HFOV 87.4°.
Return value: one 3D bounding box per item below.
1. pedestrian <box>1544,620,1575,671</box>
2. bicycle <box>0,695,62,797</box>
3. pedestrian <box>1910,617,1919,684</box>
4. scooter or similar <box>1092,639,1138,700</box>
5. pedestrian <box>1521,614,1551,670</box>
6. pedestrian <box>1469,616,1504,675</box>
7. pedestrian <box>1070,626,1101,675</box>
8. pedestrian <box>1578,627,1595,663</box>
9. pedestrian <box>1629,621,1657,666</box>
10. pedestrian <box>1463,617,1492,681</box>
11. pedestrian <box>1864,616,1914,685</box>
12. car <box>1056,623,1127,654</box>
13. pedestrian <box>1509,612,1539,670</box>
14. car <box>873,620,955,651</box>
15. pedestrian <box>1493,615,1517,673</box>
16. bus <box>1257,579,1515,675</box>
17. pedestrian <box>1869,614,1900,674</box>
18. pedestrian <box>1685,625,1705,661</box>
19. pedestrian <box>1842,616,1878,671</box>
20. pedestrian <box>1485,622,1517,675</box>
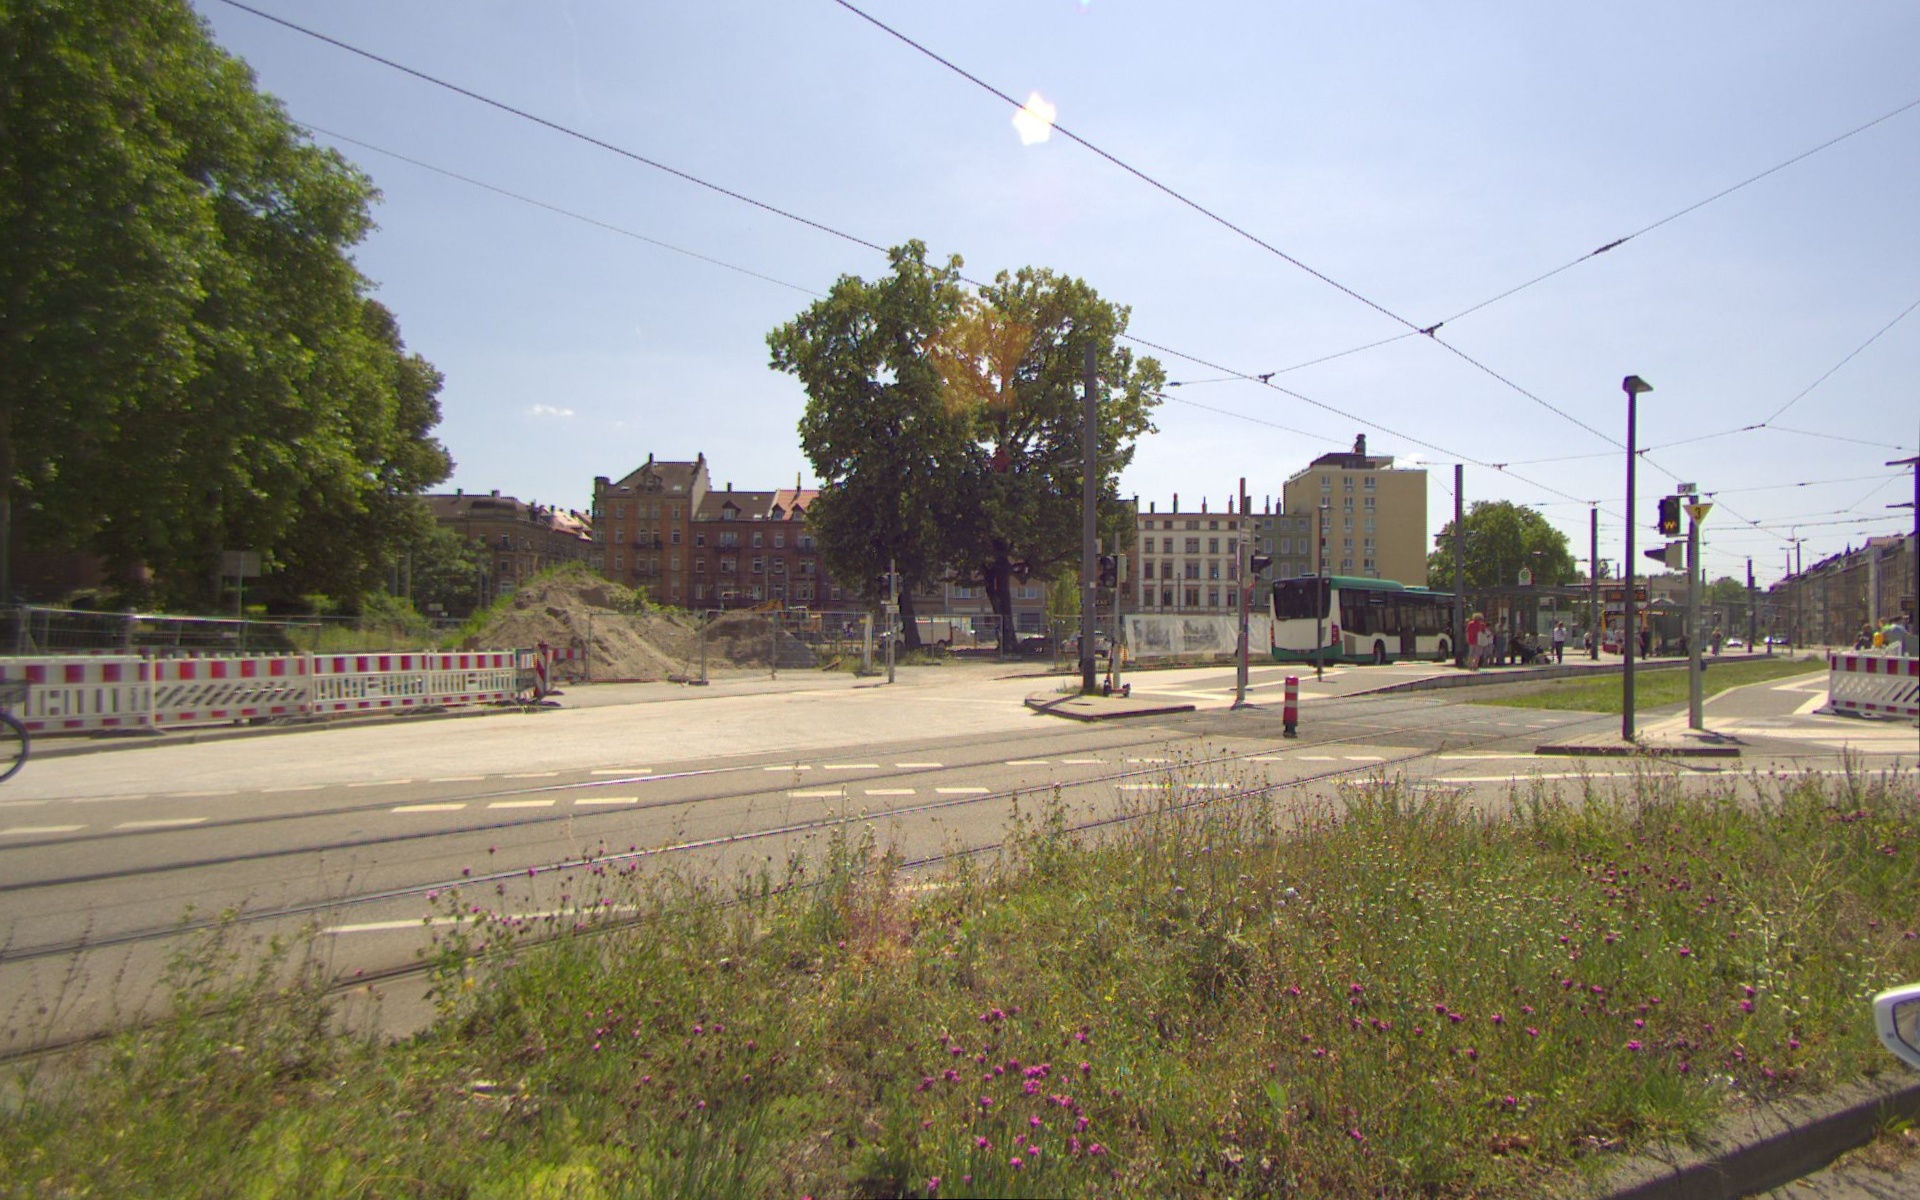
[{"bbox_3d":[25.378,1.915,42.535,0.824,2.124,0.892,1,-2,-39],"label":"pedestrian"},{"bbox_3d":[-9.736,1.393,9.077,0.496,0.926,2.363,-1,-2,34],"label":"bicycle"},{"bbox_3d":[27.408,1.414,28.168,0.963,1.856,0.632,-1,-2,32],"label":"pedestrian"},{"bbox_3d":[3.177,1.403,20.572,0.315,1.222,1.242,-1,-2,41],"label":"scooter or similar"},{"bbox_3d":[21.963,1.599,38.292,0.887,2.124,0.829,-1,-2,35],"label":"pedestrian"},{"bbox_3d":[18.333,1.570,34.986,0.929,2.016,1.025,-1,-2,36],"label":"pedestrian"},{"bbox_3d":[4.199,1.680,33.576,0.817,1.623,0.602,1,-2,-34],"label":"pedestrian"},{"bbox_3d":[37.650,2.722,60.370,0.693,2.139,0.657,0,-2,22],"label":"pedestrian"},{"bbox_3d":[32.669,2.072,48.054,0.824,2.124,0.892,1,-2,-39],"label":"pedestrian"},{"bbox_3d":[15.787,1.489,30.643,0.664,1.934,0.638,-1,-2,37],"label":"pedestrian"},{"bbox_3d":[26.024,1.405,28.154,0.751,1.888,0.731,1,-2,5],"label":"pedestrian"},{"bbox_3d":[7.400,2.177,56.895,1.831,1.671,4.161,1,-2,-31],"label":"car"},{"bbox_3d":[21.251,1.540,37.851,0.887,2.124,0.829,-1,-2,35],"label":"pedestrian"},{"bbox_3d":[-2.997,2.317,65.652,4.968,1.909,2.106,1,-2,-24],"label":"car"},{"bbox_3d":[20.239,1.614,37.290,0.690,2.124,0.643,-1,-2,35],"label":"pedestrian"},{"bbox_3d":[17.777,1.133,40.390,17.378,3.199,2.981,2,-2,-44],"label":"bus"},{"bbox_3d":[30.442,1.453,33.071,0.711,1.948,1.069,0,-2,41],"label":"pedestrian"},{"bbox_3d":[43.453,2.552,59.371,0.896,2.124,0.821,2,-2,-45],"label":"pedestrian"},{"bbox_3d":[29.076,1.411,32.455,0.715,1.729,0.742,0,-2,29],"label":"pedestrian"},{"bbox_3d":[19.364,1.731,35.967,0.900,1.876,0.655,-1,-2,37],"label":"pedestrian"}]
